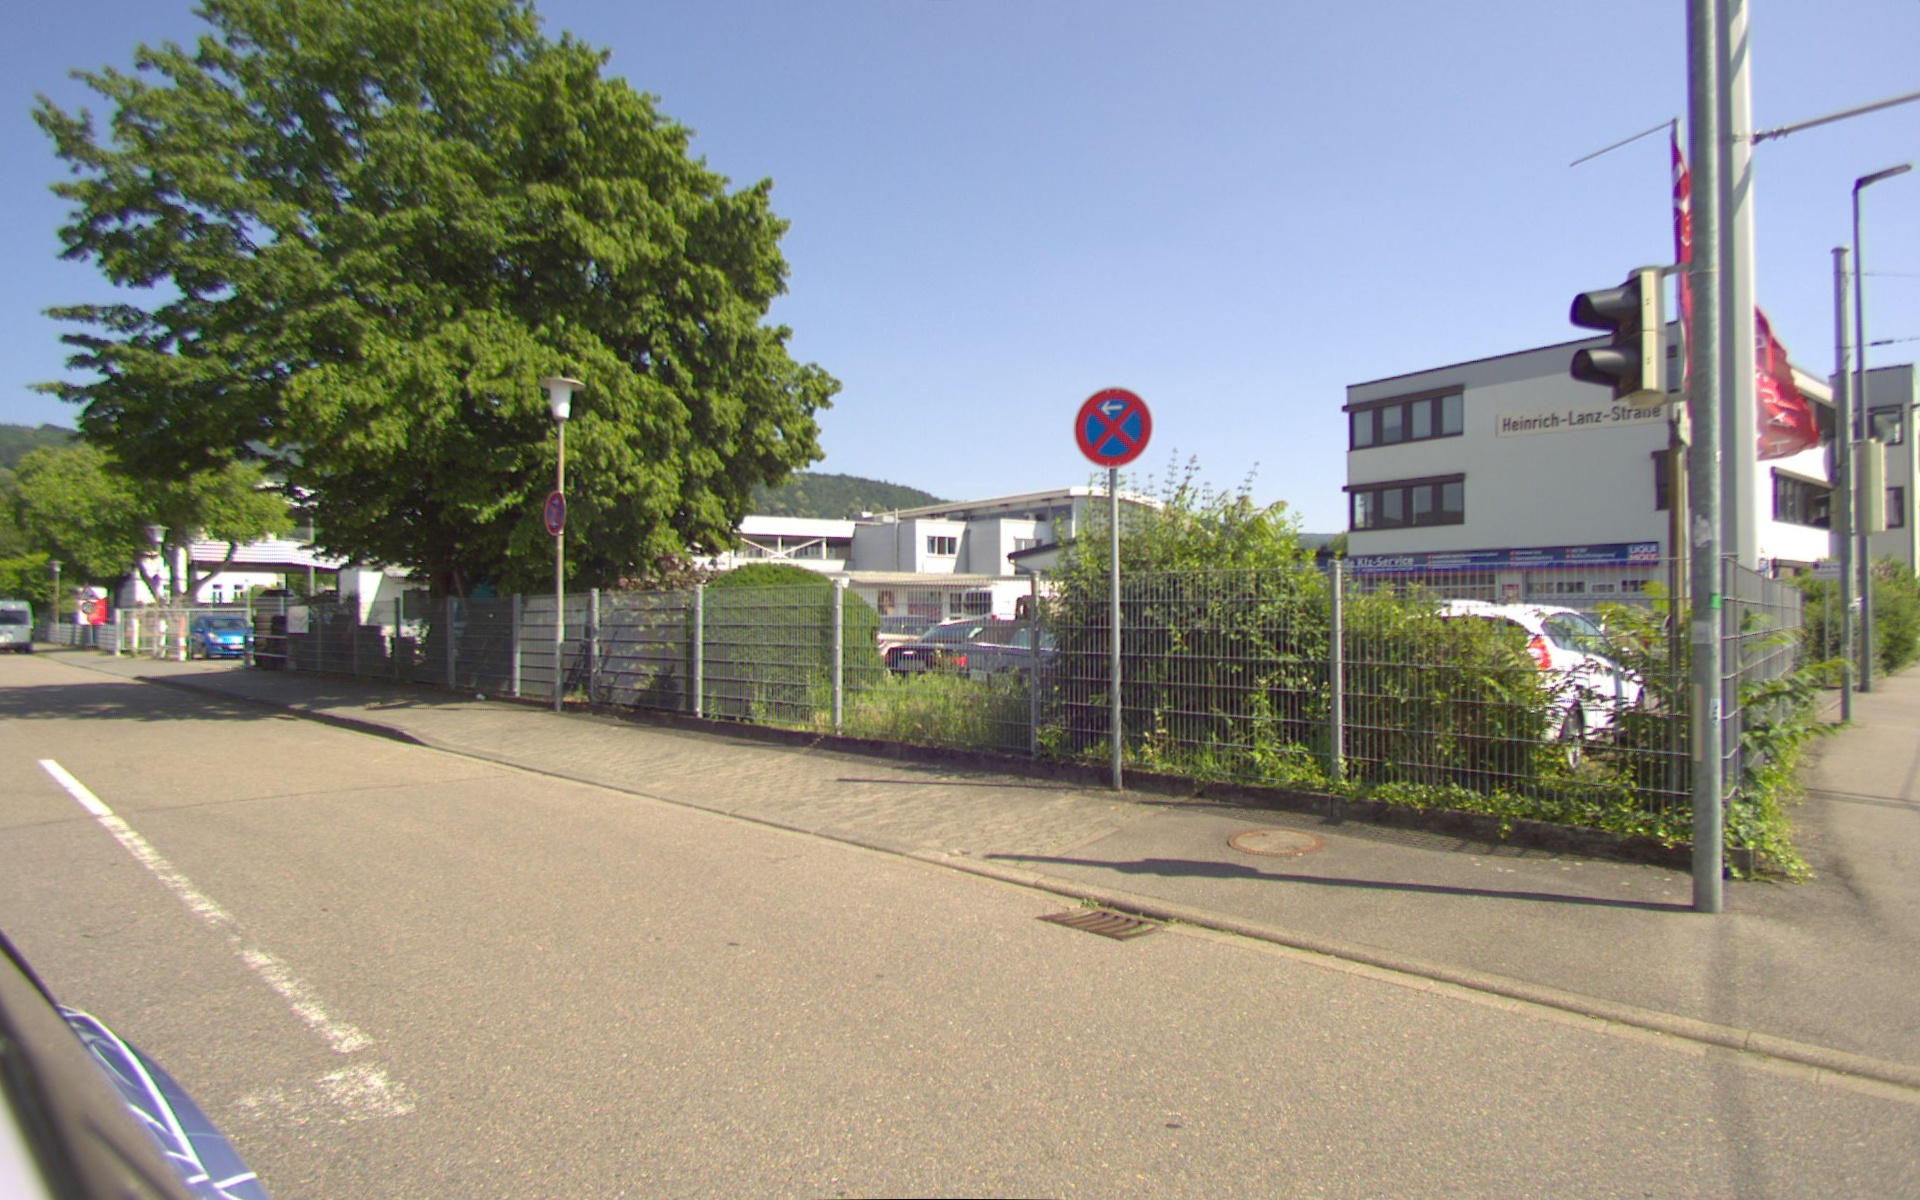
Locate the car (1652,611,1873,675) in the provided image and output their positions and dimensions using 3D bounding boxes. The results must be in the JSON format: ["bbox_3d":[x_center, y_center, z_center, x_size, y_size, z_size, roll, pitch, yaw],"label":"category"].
[{"bbox_3d":[18.824,0.967,23.866,1.721,1.381,3.842,1,-1,-41],"label":"car"}]

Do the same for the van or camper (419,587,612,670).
[{"bbox_3d":[-11.327,0.651,25.963,1.775,1.877,4.135,-1,1,45],"label":"van or camper"}]

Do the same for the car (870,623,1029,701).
[{"bbox_3d":[-0.176,1.218,21.042,1.654,1.484,3.035,-1,-2,45],"label":"car"}]

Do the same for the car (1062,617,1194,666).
[{"bbox_3d":[5.713,1.361,34.215,4.354,1.569,1.996,1,-2,-38],"label":"car"}]

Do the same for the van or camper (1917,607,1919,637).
[{"bbox_3d":[74.124,1.661,75.085,2.020,2.314,5.781,0,-1,16],"label":"van or camper"}]

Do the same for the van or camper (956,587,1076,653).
[{"bbox_3d":[2.143,0.734,37.711,4.530,2.323,1.784,1,-1,-41],"label":"van or camper"}]

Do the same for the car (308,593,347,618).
[{"bbox_3d":[-39.949,0.335,64.011,1.680,1.469,3.537,-2,1,-26],"label":"car"}]

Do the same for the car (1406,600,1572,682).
[{"bbox_3d":[12.679,0.943,24.210,3.934,1.798,2.004,1,-2,-37],"label":"car"}]

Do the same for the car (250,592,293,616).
[{"bbox_3d":[-42.615,0.272,62.695,1.680,1.469,3.536,1,-1,-26],"label":"car"}]

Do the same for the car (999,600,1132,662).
[{"bbox_3d":[3.760,1.067,35.640,4.506,2.029,2.062,1,-2,-39],"label":"car"}]

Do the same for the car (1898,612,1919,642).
[{"bbox_3d":[53.416,1.475,54.560,1.969,1.530,4.006,-2,1,-41],"label":"car"}]

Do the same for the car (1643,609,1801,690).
[{"bbox_3d":[16.152,0.990,21.402,3.774,1.553,1.745,1,-2,-38],"label":"car"}]

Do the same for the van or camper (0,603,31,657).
[{"bbox_3d":[-43.916,1.322,46.030,4.685,2.395,2.001,-1,-2,43],"label":"van or camper"}]

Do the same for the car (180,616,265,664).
[{"bbox_3d":[-24.968,1.318,34.233,3.524,1.469,1.623,-1,1,42],"label":"car"}]

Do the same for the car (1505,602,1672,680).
[{"bbox_3d":[13.904,0.867,22.341,3.871,1.580,1.861,1,-1,-37],"label":"car"}]

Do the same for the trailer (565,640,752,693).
[{"bbox_3d":[-5.996,1.295,20.320,1.613,0.946,3.244,-2,-3,45],"label":"trailer"}]

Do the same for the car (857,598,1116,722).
[{"bbox_3d":[0.501,0.798,14.776,1.855,1.553,3.785,-1,-2,40],"label":"car"}]

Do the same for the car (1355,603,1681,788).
[{"bbox_3d":[5.588,0.797,9.916,3.895,1.444,1.715,2,-1,-44],"label":"car"}]

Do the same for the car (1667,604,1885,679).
[{"bbox_3d":[20.432,1.002,25.448,1.969,1.719,4.005,1,-2,-42],"label":"car"}]

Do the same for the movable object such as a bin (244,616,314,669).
[{"bbox_3d":[-19.383,1.170,28.805,1.363,1.368,2.106,-2,1,-41],"label":"movable object such as a bin"}]
